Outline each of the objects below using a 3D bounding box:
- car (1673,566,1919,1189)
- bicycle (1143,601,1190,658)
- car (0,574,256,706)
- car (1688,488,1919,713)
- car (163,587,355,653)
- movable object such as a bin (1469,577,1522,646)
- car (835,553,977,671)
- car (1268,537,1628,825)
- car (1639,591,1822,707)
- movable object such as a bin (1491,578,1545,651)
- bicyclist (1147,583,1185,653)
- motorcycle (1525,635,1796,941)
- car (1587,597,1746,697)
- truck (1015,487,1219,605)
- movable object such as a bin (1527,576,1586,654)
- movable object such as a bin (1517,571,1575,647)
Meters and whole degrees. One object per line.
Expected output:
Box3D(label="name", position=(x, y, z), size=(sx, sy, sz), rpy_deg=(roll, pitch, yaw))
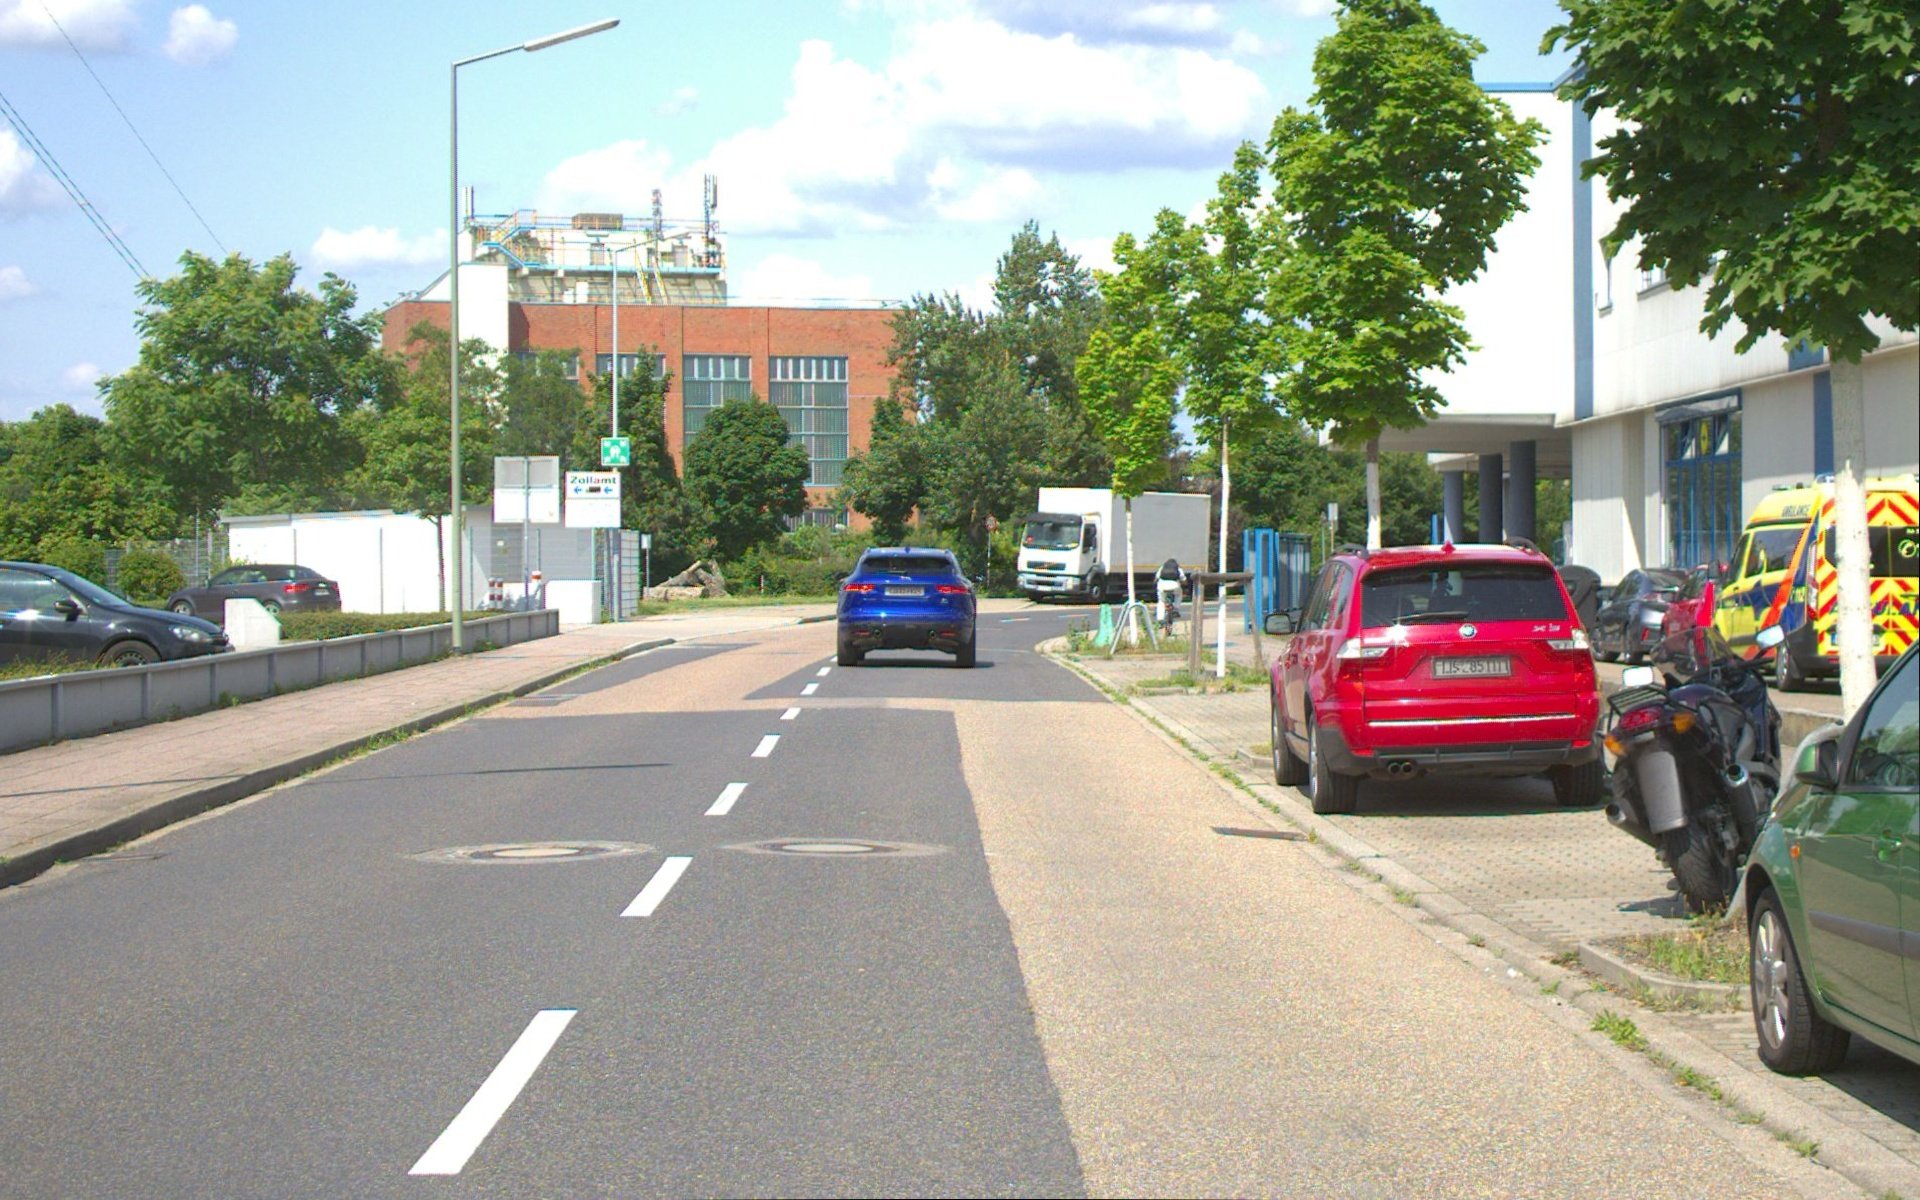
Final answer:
Box3D(label="car", position=(3.167, 0.680, 9.120), size=(1.668, 1.515, 3.995), rpy_deg=(1, 0, -1))
Box3D(label="bicycle", position=(4.139, 0.588, 68.906), size=(0.667, 1.105, 2.166), rpy_deg=(0, 0, 11))
Box3D(label="car", position=(-9.696, 0.412, 36.715), size=(3.987, 1.371, 1.804), rpy_deg=(0, 0, 0))
Box3D(label="car", position=(10.096, 0.002, 40.324), size=(1.924, 2.455, 5.259), rpy_deg=(1, 0, 0))
Box3D(label="car", position=(-15.212, 0.416, 74.574), size=(3.994, 1.373, 1.800), rpy_deg=(0, 1, 34))
Box3D(label="movable object such as a bin", position=(11.054, 0.236, 70.955), size=(0.804, 1.409, 1.406), rpy_deg=(1, 0, -3))
Box3D(label="car", position=(-0.785, 0.161, 48.943), size=(1.909, 1.588, 4.701), rpy_deg=(1, 0, -1))
Box3D(label="car", position=(3.099, 0.477, 22.693), size=(1.755, 1.645, 4.677), rpy_deg=(-2, 0, 1))
Box3D(label="car", position=(10.373, 0.637, 46.481), size=(1.572, 1.485, 3.817), rpy_deg=(1, 0, 0))
Box3D(label="movable object such as a bin", position=(10.971, 0.282, 67.628), size=(0.804, 1.409, 1.175), rpy_deg=(1, 0, -3))
Box3D(label="bicyclist", position=(4.141, 0.362, 69.089), size=(0.663, 1.393, 0.858), rpy_deg=(0, 0, 11))
Box3D(label="motorcycle", position=(3.150, 0.778, 15.274), size=(0.856, 1.196, 2.361), rpy_deg=(0, 1, 20))
Box3D(label="car", position=(10.341, 0.663, 50.533), size=(1.496, 1.398, 3.854), rpy_deg=(1, 0, 0))
Box3D(label="truck", position=(5.076, -1.729, 108.971), size=(2.325, 3.555, 9.351), rpy_deg=(2, 2, 30))
Box3D(label="movable object such as a bin", position=(11.041, 0.275, 63.644), size=(0.804, 1.409, 1.358), rpy_deg=(1, 0, -1))
Box3D(label="movable object such as a bin", position=(11.093, 0.166, 65.113), size=(0.804, 1.409, 1.358), rpy_deg=(1, 0, -1))
